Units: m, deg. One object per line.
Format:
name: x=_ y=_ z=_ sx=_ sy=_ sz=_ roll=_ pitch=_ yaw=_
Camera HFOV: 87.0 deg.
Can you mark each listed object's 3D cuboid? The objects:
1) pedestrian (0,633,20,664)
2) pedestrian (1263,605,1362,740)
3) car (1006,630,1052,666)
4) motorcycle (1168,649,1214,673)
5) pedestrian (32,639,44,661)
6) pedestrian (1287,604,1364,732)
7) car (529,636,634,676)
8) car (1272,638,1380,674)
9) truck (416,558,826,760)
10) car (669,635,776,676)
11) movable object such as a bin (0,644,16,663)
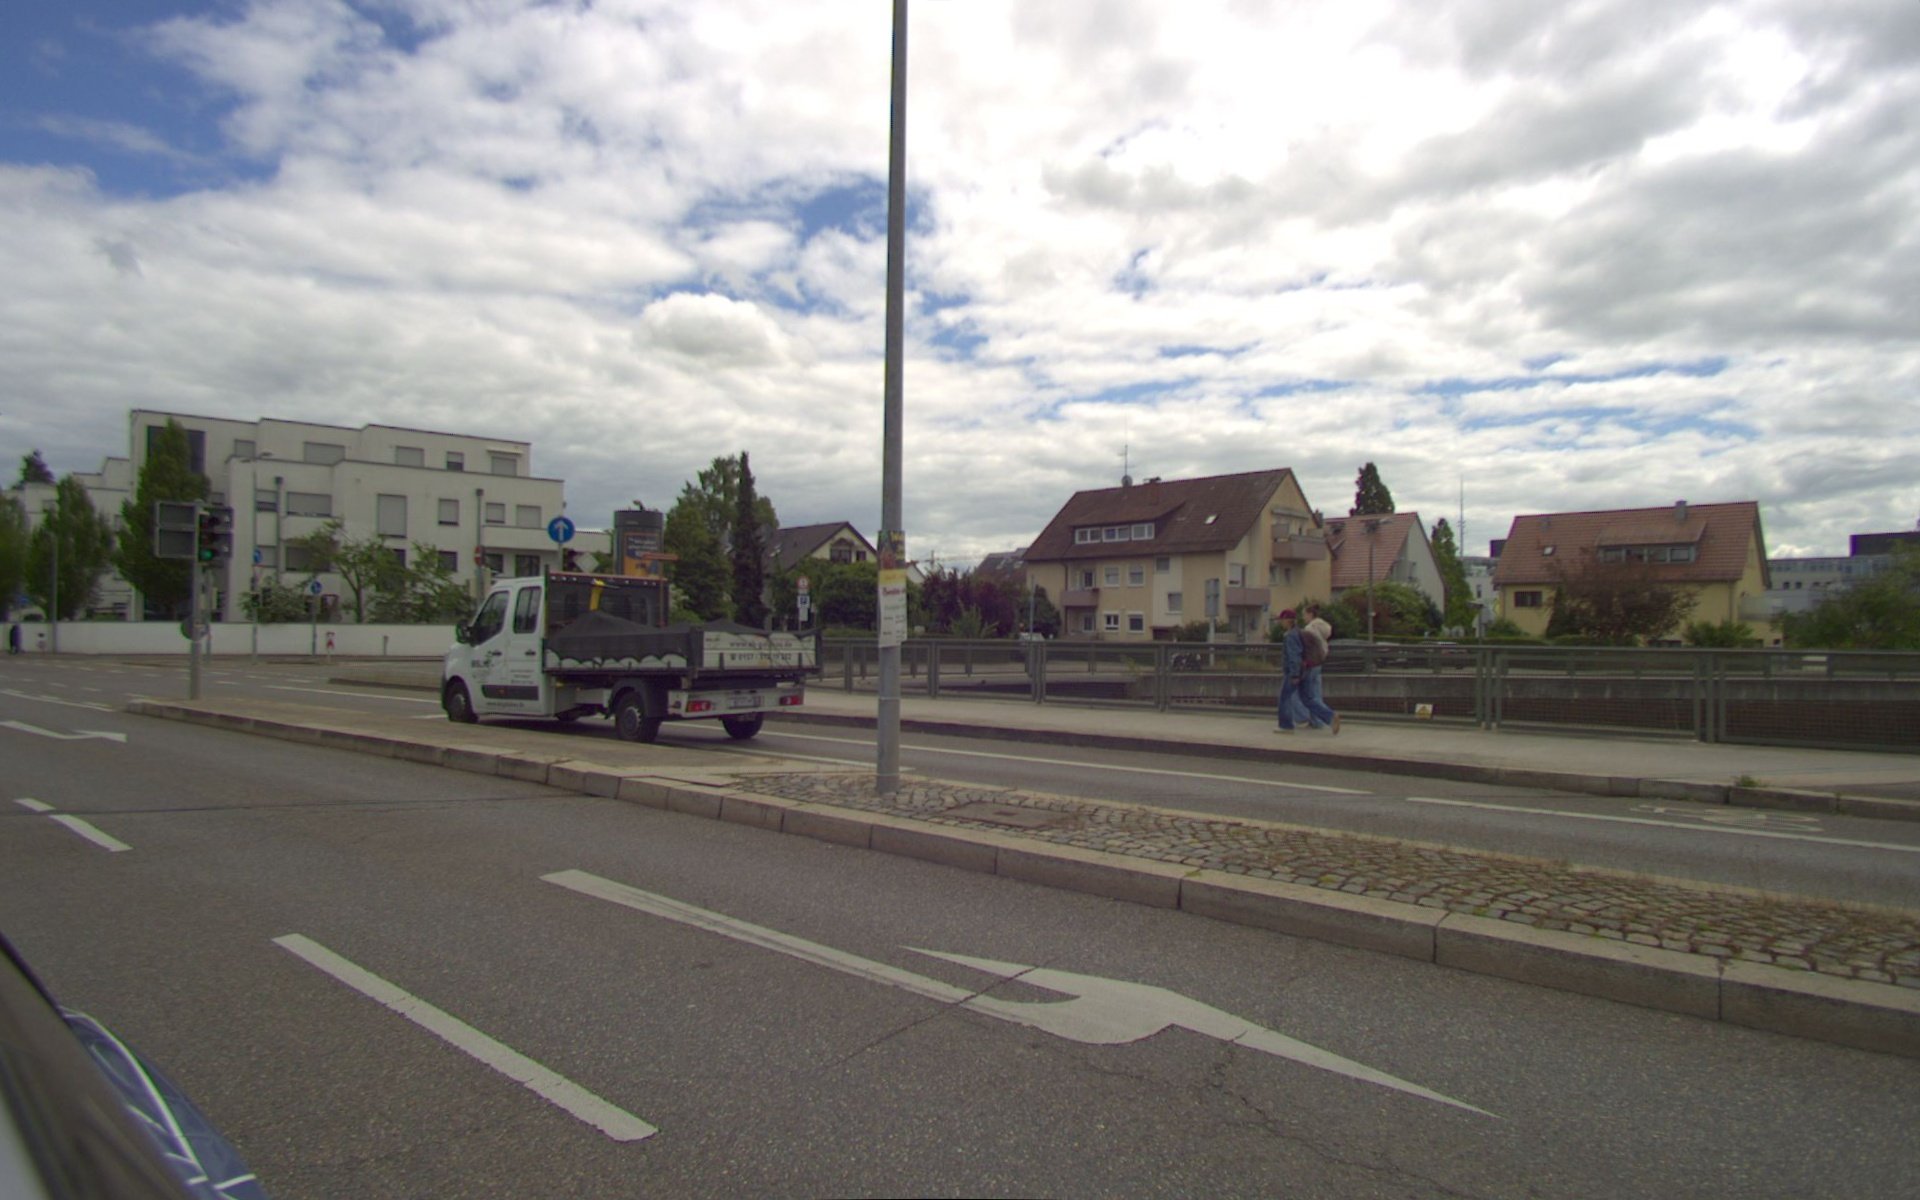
pedestrian: x=-48.343 y=2.453 z=51.523 sx=0.730 sy=1.554 sz=0.527 roll=-2 pitch=2 yaw=35
pedestrian: x=4.484 y=0.892 z=12.865 sx=1.067 sy=1.646 sz=0.651 roll=-1 pitch=-1 yaw=31
car: x=3.540 y=2.477 z=52.551 sx=1.759 sy=1.592 sz=4.004 roll=-2 pitch=0 yaw=-5
motorcycle: x=10.748 y=2.819 z=47.140 sx=0.691 sy=1.007 sz=2.127 roll=6 pitch=-5 yaw=-34
pedestrian: x=-46.567 y=2.535 z=51.095 sx=0.443 sy=1.070 sz=0.323 roll=-2 pitch=1 yaw=36
pedestrian: x=4.863 y=0.882 z=13.464 sx=0.830 sy=1.646 sz=0.651 roll=-1 pitch=-1 yaw=31
car: x=-15.025 y=2.234 z=40.349 sx=3.643 sy=1.458 sz=1.779 roll=2 pitch=-2 yaw=-10
car: x=17.271 y=2.644 z=47.893 sx=4.309 sy=1.619 sz=2.002 roll=0 pitch=-2 yaw=-6
truck: x=-5.058 y=0.764 z=14.365 sx=6.796 sy=2.282 sz=2.105 roll=-1 pitch=-3 yaw=38
car: x=-9.590 y=2.274 z=41.125 sx=4.064 sy=1.547 sz=1.650 roll=2 pitch=-4 yaw=-8
movable object such as a bin: x=-49.011 y=2.745 z=52.028 sx=0.984 sy=0.967 sz=0.493 roll=-1 pitch=2 yaw=35
